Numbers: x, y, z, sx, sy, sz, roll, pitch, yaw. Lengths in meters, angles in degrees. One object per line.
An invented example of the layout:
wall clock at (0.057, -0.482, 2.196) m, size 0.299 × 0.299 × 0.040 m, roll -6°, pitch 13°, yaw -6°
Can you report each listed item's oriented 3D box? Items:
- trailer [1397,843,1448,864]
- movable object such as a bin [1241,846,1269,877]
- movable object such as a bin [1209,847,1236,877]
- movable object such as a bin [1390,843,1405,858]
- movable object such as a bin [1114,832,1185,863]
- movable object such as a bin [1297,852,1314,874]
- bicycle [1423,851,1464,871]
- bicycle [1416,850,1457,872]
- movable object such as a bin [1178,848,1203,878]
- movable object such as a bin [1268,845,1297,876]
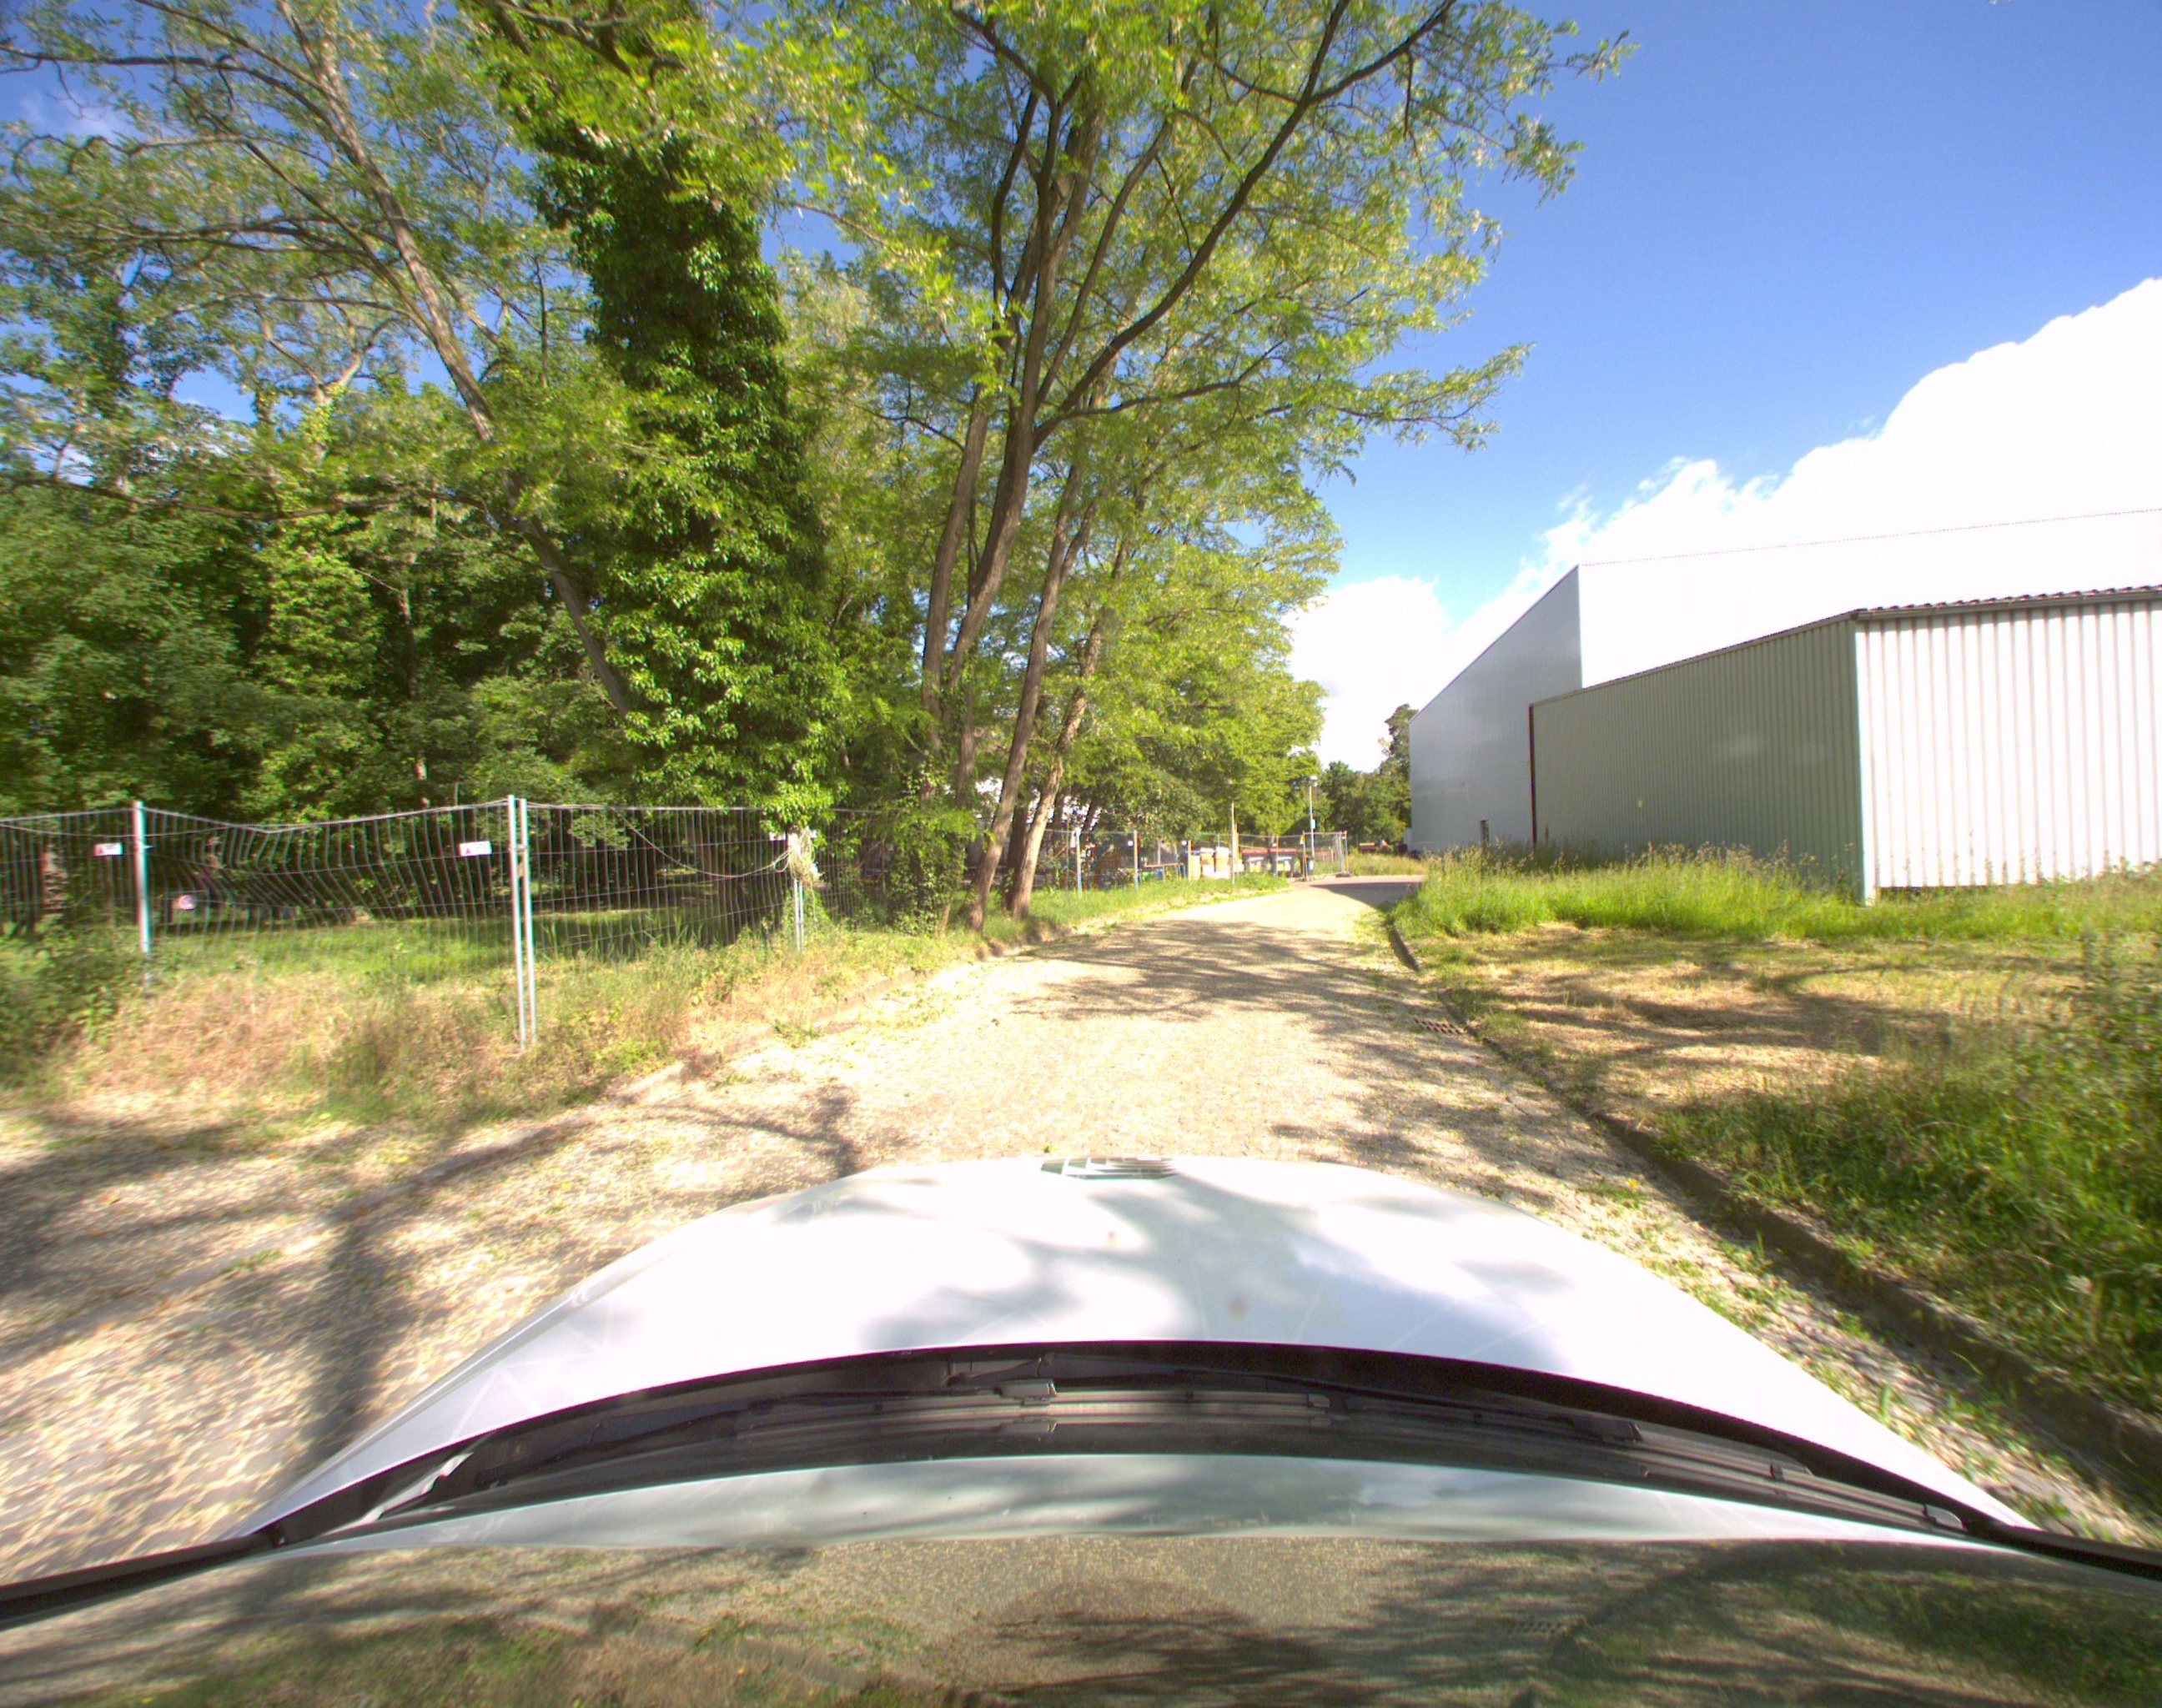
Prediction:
trailer at (21.399, -0.019, 51.077) m, size 2.692 × 1.200 × 1.250 m, roll -2°, pitch 0°, yaw 12°
movable object such as a bin at (8.568, 0.365, 40.109) m, size 1.279 × 1.426 × 1.035 m, roll -2°, pitch 0°, yaw 10°
movable object such as a bin at (7.036, 0.388, 40.437) m, size 1.279 × 1.426 × 1.035 m, roll -2°, pitch 0°, yaw 10°
movable object such as a bin at (37.709, -0.434, 97.134) m, size 1.353 × 1.656 × 2.854 m, roll -2°, pitch 0°, yaw 15°
movable object such as a bin at (4.936, -0.459, 58.245) m, size 4.841 × 1.970 × 1.938 m, roll -2°, pitch 0°, yaw 10°
movable object such as a bin at (10.902, 0.442, 39.511) m, size 0.635 × 1.007 × 0.608 m, roll -2°, pitch 0°, yaw 28°
bicycle at (18.621, 0.361, 41.847) m, size 1.871 × 0.978 × 0.435 m, roll -2°, pitch 0°, yaw 11°
bicycle at (18.896, 0.389, 43.309) m, size 1.871 × 1.082 × 0.435 m, roll -2°, pitch 0°, yaw 11°
movable object such as a bin at (5.474, 0.427, 40.651) m, size 1.076 × 1.438 × 1.060 m, roll -2°, pitch 0°, yaw 14°
movable object such as a bin at (9.857, 0.325, 39.901) m, size 1.280 × 1.426 × 1.035 m, roll -2°, pitch 0°, yaw 9°
